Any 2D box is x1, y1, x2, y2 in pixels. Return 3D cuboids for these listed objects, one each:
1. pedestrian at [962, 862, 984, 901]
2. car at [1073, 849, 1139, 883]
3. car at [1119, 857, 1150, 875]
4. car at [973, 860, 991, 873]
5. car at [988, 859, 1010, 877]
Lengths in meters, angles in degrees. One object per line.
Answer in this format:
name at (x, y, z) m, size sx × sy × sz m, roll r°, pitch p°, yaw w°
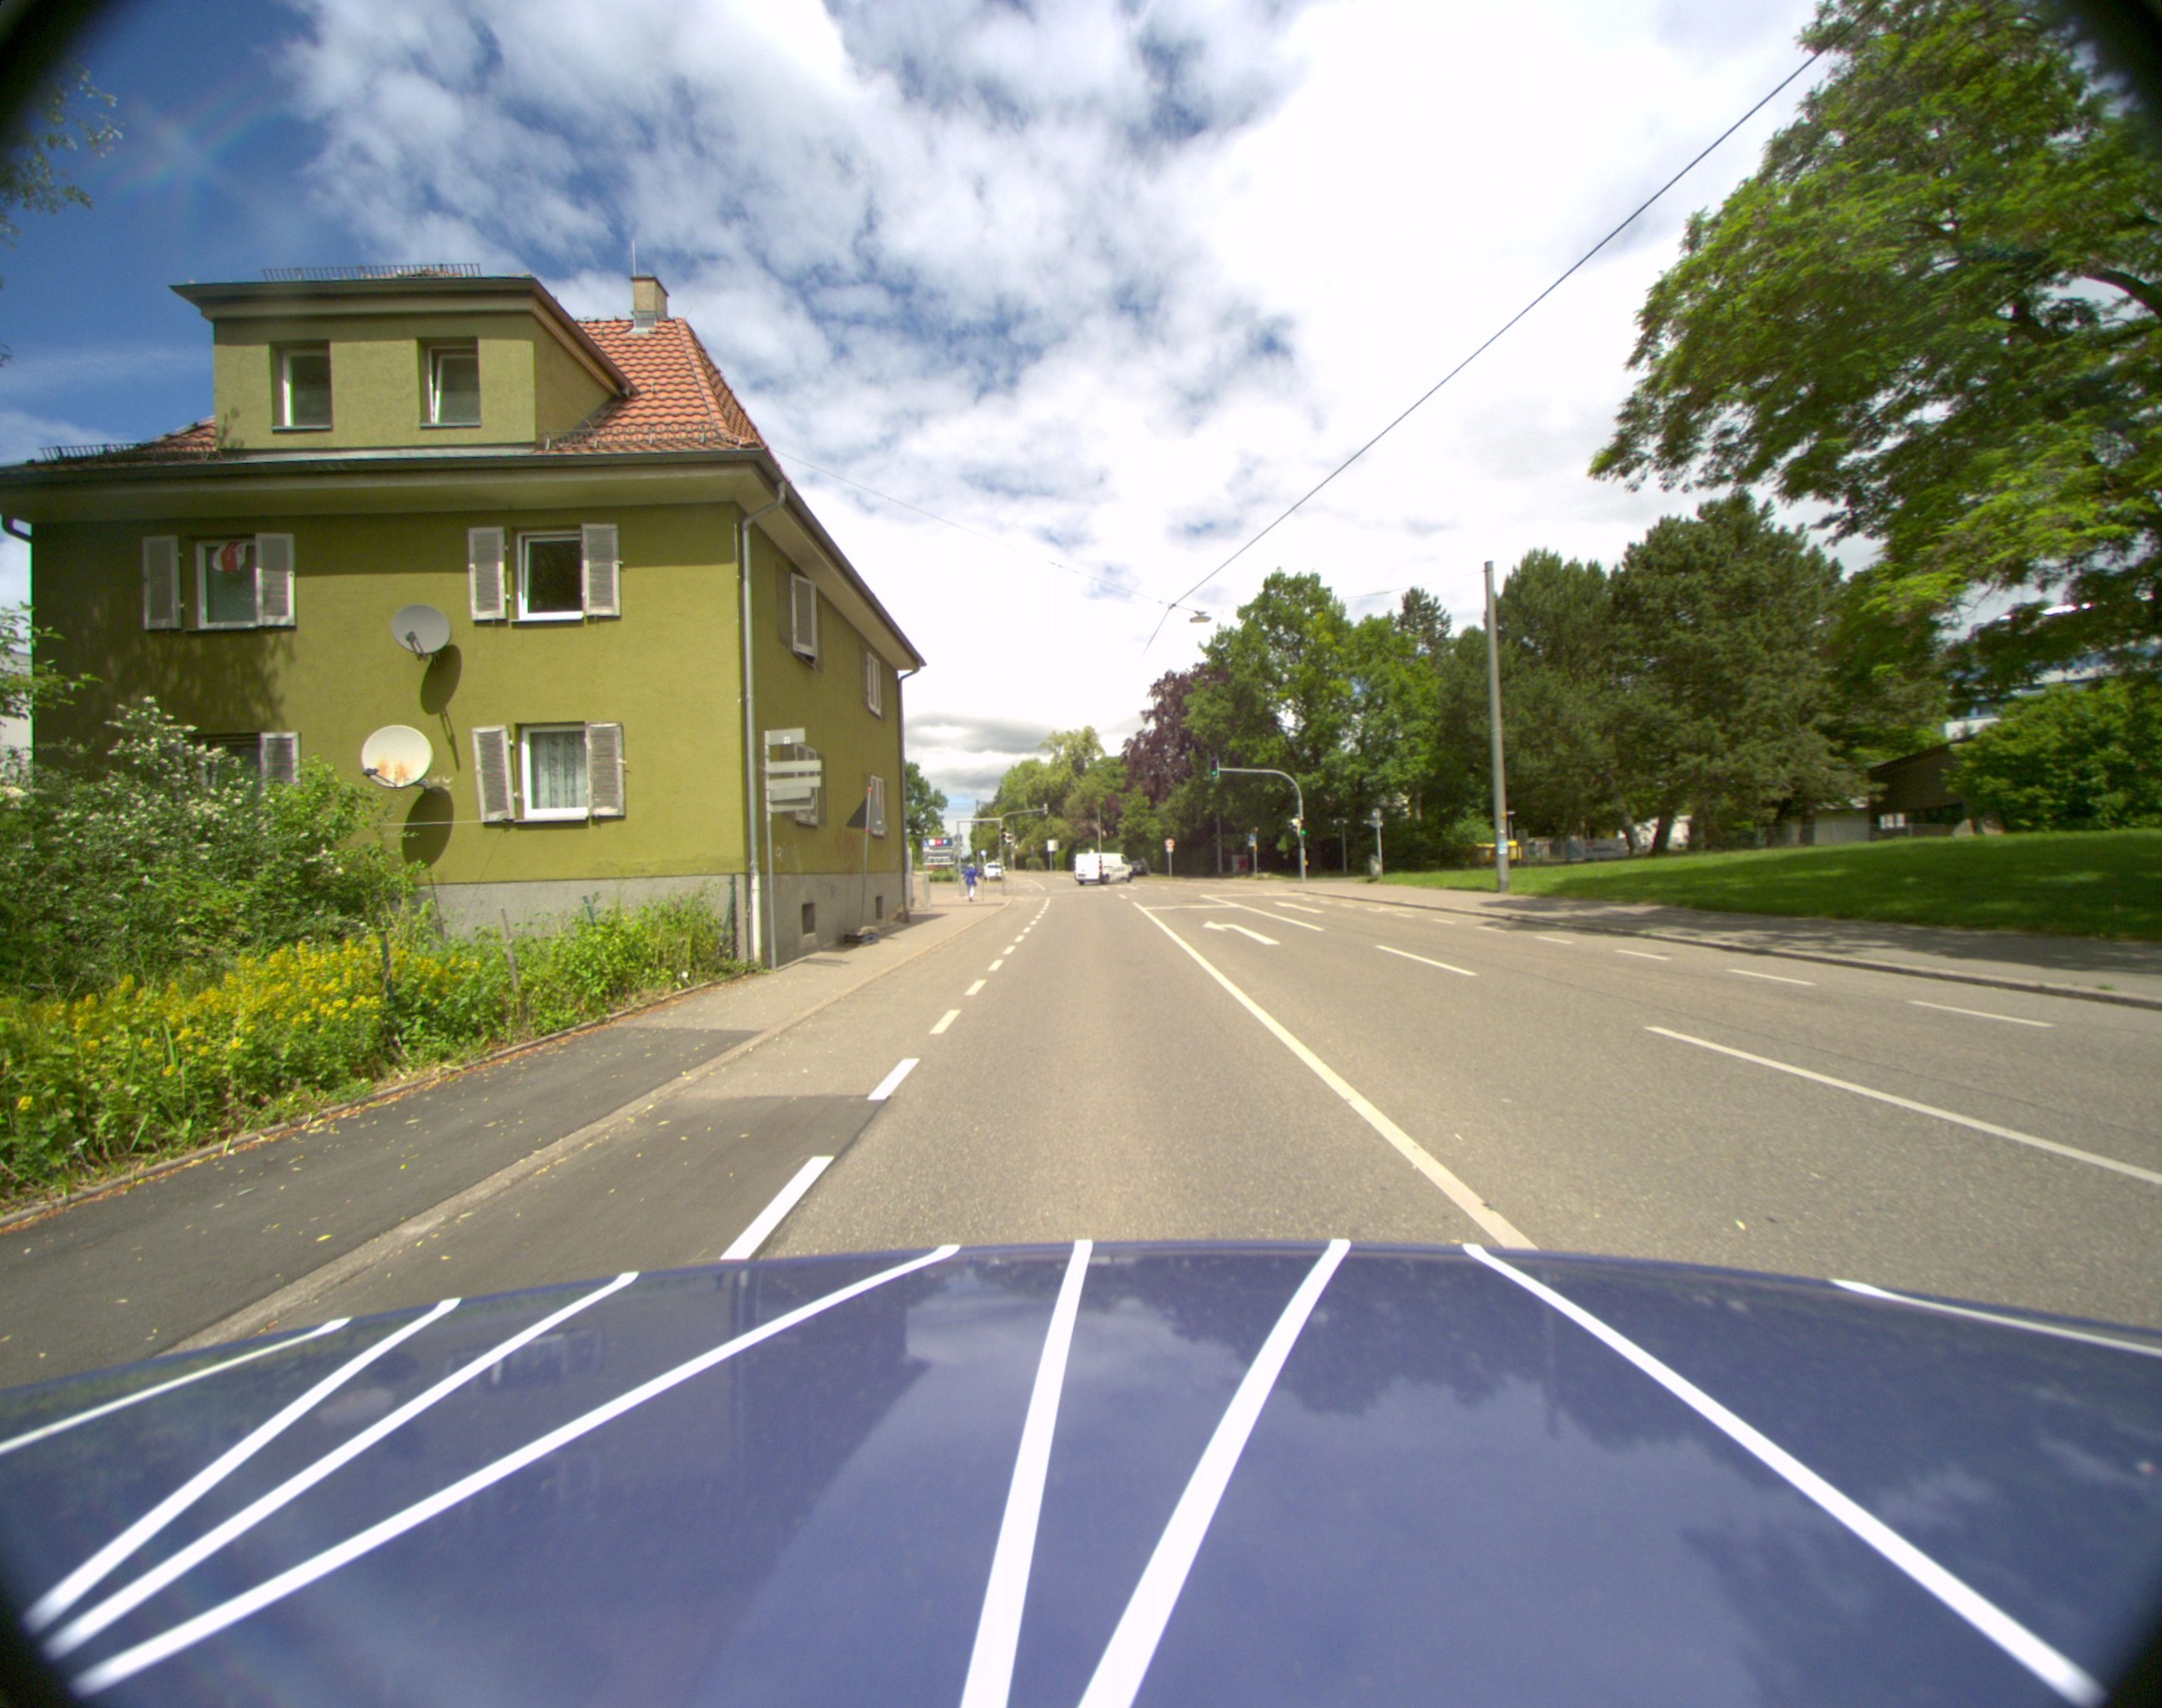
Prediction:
pedestrian at (-4.398, 1.119, 31.009) m, size 0.826 × 1.563 × 0.987 m, roll -1°, pitch 0°, yaw -4°
car at (1.684, 0.733, 48.569) m, size 1.995 × 2.011 × 5.361 m, roll -1°, pitch 0°, yaw 28°
car at (4.630, 0.997, 66.549) m, size 1.688 × 1.407 × 4.398 m, roll -3°, pitch 1°, yaw -9°
car at (-12.550, 1.578, 95.801) m, size 1.707 × 1.522 × 3.995 m, roll -3°, pitch 0°, yaw -15°
car at (-7.339, 1.242, 67.650) m, size 1.796 × 1.522 × 3.918 m, roll 0°, pitch 0°, yaw -9°
